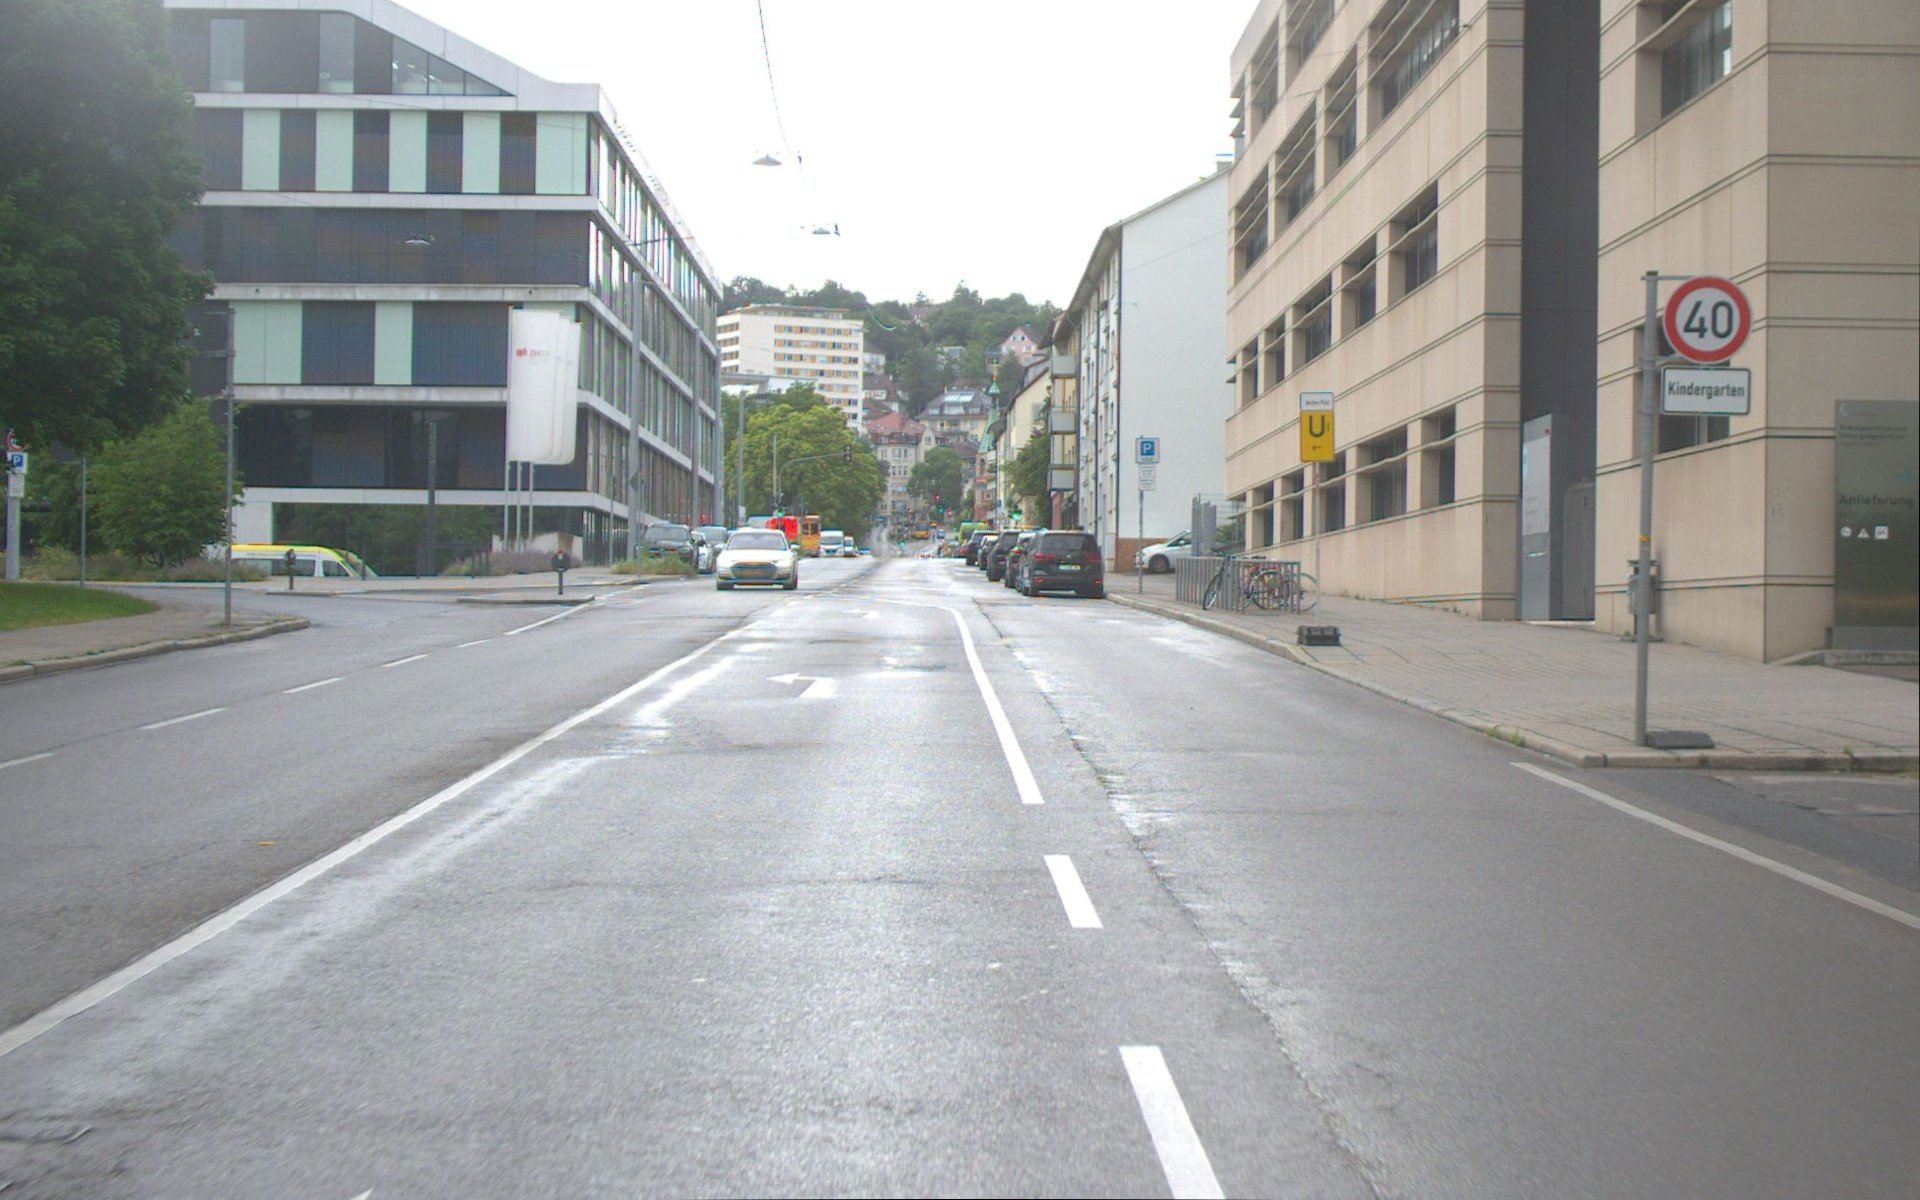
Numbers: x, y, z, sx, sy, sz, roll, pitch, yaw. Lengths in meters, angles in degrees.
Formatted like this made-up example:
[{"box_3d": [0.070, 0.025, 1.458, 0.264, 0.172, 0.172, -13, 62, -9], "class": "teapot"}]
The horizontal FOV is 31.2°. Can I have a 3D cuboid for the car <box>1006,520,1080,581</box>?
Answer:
[{"box_3d": [2.216, -1.307, 92.244, 1.725, 1.507, 4.058, 3, 0, -1], "class": "car"}]

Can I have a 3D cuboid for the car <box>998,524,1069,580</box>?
[{"box_3d": [2.108, -1.391, 99.502, 1.743, 1.528, 4.320, 2, 1, -2], "class": "car"}]

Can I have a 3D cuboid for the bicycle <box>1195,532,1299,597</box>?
[{"box_3d": [5.090, -0.628, 60.971, 1.729, 1.115, 0.660, 1, 1, -6], "class": "bicycle"}]

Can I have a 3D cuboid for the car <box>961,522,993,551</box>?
[{"box_3d": [1.105, -4.110, 223.128, 1.867, 1.764, 4.189, 2, 1, 2], "class": "car"}]

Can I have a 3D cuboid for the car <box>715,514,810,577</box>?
[{"box_3d": [-4.901, -1.395, 85.835, 1.881, 1.485, 5.220, -1, 1, 2], "class": "car"}]

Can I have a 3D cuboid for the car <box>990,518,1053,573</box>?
[{"box_3d": [2.052, -1.839, 116.331, 1.935, 1.744, 4.797, 2, 1, -1], "class": "car"}]

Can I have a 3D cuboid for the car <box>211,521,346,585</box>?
[{"box_3d": [-24.567, -1.696, 124.028, 4.589, 2.167, 1.932, 2, 0, -6], "class": "car"}]

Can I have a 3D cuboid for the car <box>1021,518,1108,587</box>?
[{"box_3d": [2.514, -1.157, 83.725, 1.771, 1.598, 4.395, 2, 1, -2], "class": "car"}]

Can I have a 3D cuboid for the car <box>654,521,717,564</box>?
[{"box_3d": [-9.435, -1.981, 118.457, 1.821, 1.414, 4.402, 2, 1, 0], "class": "car"}]

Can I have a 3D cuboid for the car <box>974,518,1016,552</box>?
[{"box_3d": [1.531, -2.838, 150.940, 1.706, 1.449, 3.985, 2, 1, -1], "class": "car"}]

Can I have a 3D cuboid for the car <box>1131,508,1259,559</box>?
[{"box_3d": [8.542, -2.405, 125.202, 4.438, 1.707, 1.905, -2, 1, -1], "class": "car"}]

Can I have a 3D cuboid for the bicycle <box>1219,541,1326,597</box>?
[{"box_3d": [5.453, -0.544, 59.993, 1.758, 0.950, 0.660, 1, 1, -3], "class": "bicycle"}]

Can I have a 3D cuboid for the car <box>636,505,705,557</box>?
[{"box_3d": [-9.379, -2.222, 111.751, 1.849, 1.612, 4.491, 2, 1, 0], "class": "car"}]

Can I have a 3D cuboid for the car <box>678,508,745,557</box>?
[{"box_3d": [-9.287, -2.517, 128.598, 1.963, 1.744, 4.942, 2, 1, 2], "class": "car"}]
